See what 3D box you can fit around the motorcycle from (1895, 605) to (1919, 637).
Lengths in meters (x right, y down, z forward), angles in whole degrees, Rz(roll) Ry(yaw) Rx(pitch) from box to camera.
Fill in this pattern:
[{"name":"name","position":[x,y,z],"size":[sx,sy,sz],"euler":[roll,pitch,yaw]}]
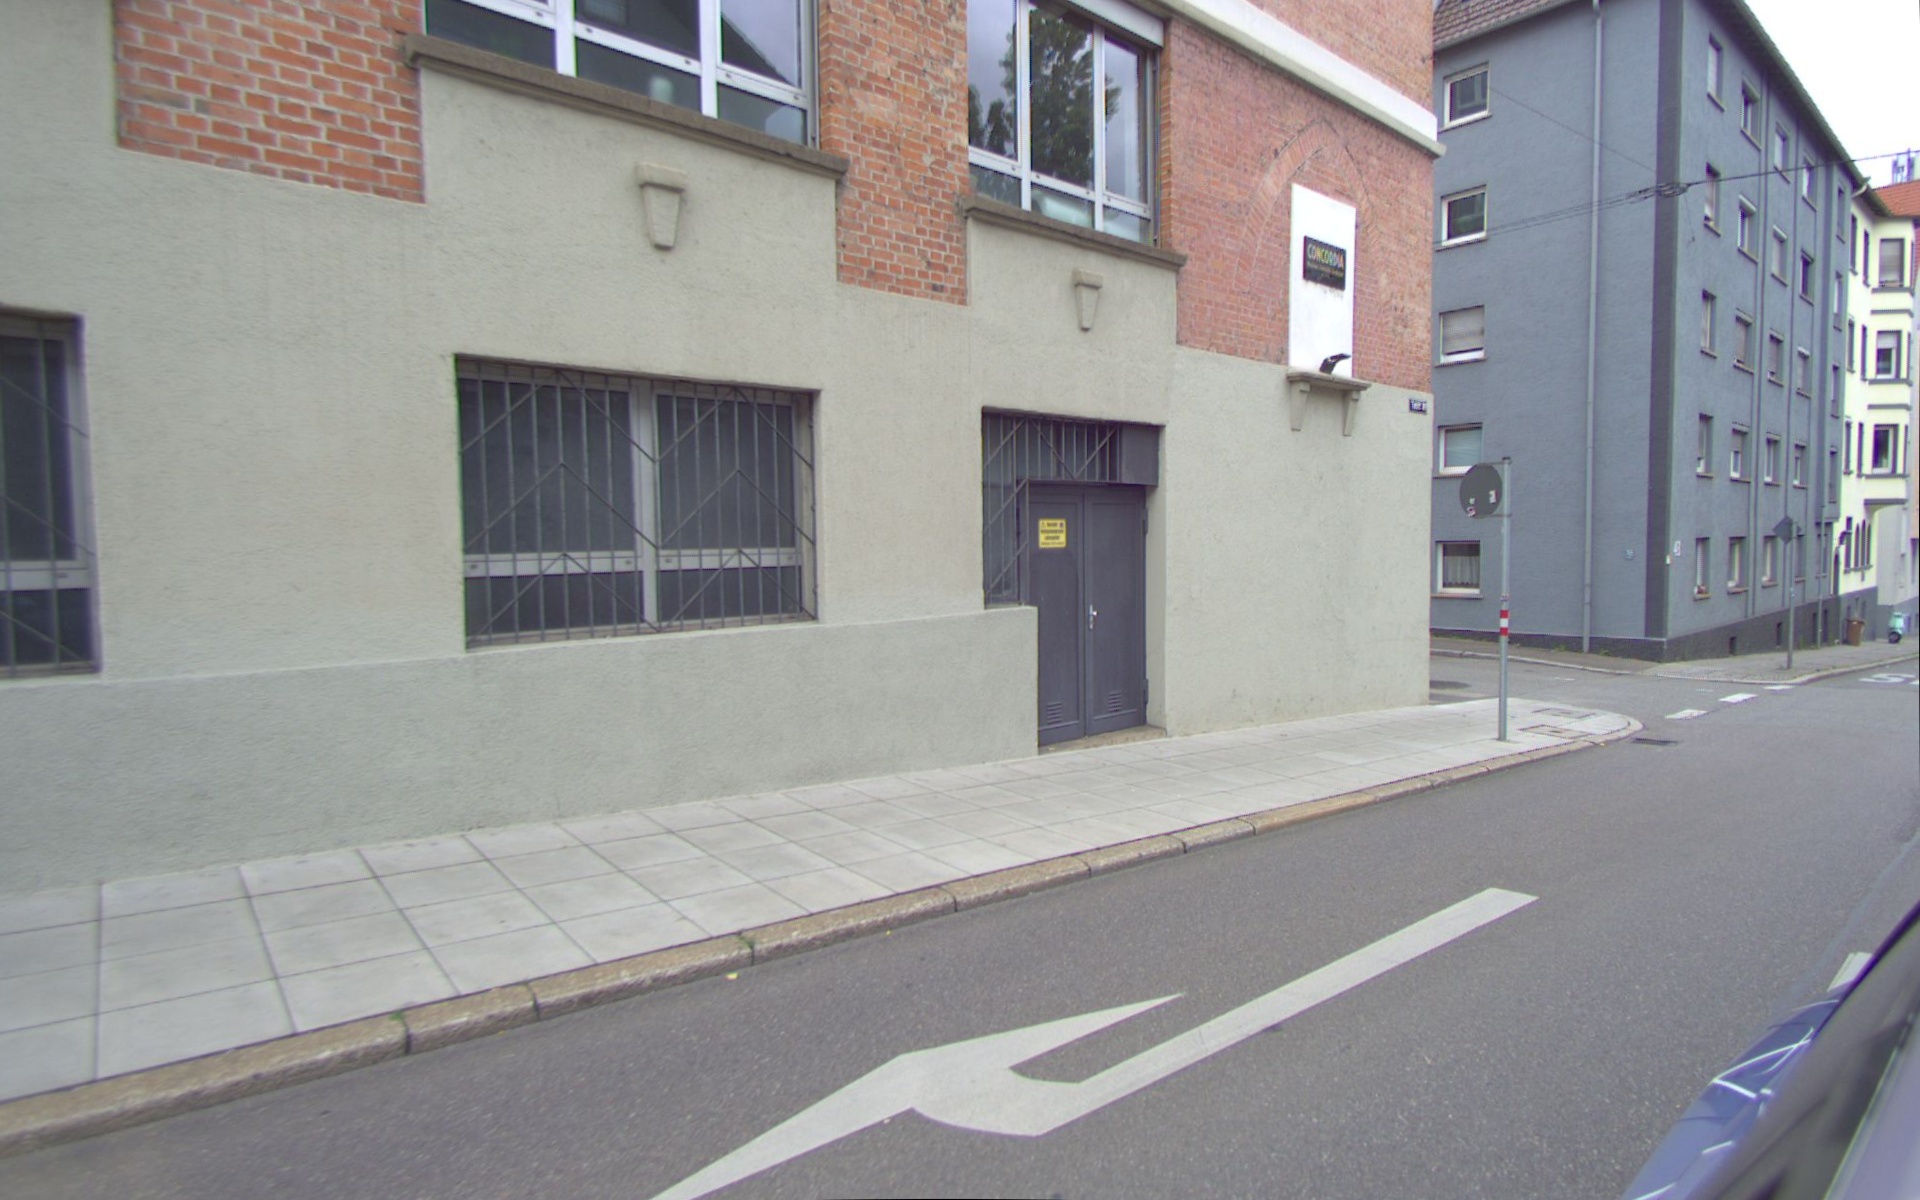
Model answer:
[{"name":"motorcycle","position":[35.579,0.775,37.846],"size":[1.624,1.124,0.566],"euler":[0,6,-40]}]
